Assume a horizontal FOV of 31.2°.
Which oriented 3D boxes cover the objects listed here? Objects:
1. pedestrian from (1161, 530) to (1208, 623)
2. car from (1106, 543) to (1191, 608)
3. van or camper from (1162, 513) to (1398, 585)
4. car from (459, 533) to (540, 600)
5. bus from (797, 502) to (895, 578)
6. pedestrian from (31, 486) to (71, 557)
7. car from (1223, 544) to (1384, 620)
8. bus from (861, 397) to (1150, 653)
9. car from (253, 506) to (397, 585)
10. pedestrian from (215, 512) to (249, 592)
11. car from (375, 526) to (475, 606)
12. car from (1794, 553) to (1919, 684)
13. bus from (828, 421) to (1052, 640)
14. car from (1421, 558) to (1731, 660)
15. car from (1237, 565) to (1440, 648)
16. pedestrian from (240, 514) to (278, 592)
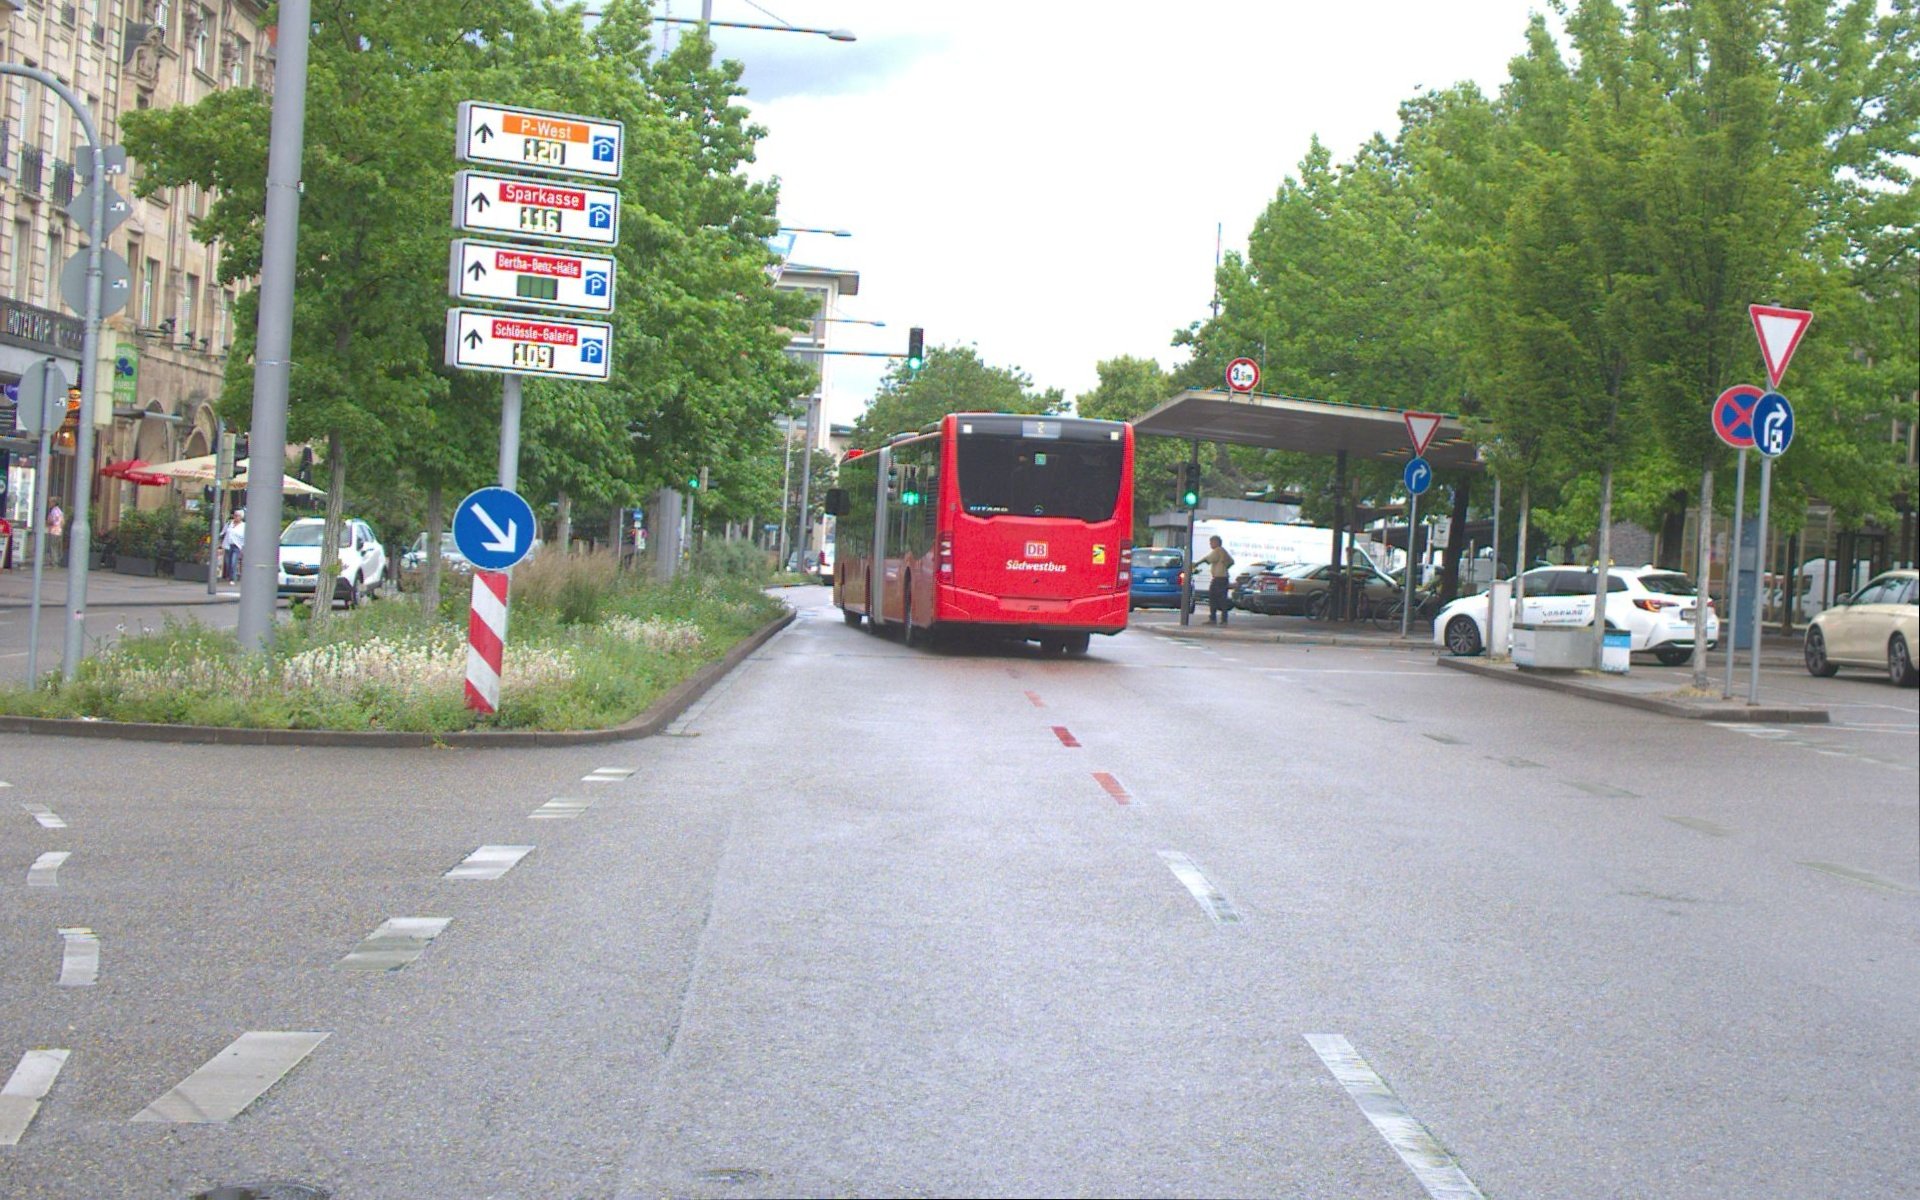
[{"bbox_3d":[4.354,-0.462,66.669,0.717,1.785,0.666,1,1,-12],"label":"pedestrian"},{"bbox_3d":[4.655,-0.630,85.402,1.816,1.525,4.000,1,1,-1],"label":"car"},{"bbox_3d":[9.597,-1.505,102.833,6.753,2.007,2.385,1,0,-26],"label":"van or camper"},{"bbox_3d":[-12.822,-0.939,95.875,1.993,1.785,4.001,1,1,-5],"label":"car"},{"bbox_3d":[-5.299,-2.725,156.568,3.760,3.198,15.528,1,1,-4],"label":"bus"},{"bbox_3d":[-19.731,-1.705,74.619,0.661,1.505,0.519,1,1,-38],"label":"pedestrian"},{"bbox_3d":[9.642,-0.504,96.653,3.986,2.007,2.001,1,1,-20],"label":"car"},{"bbox_3d":[0.469,-1.016,47.405,2.742,3.163,8.123,1,1,-8],"label":"bus"},{"bbox_3d":[-11.728,-1.034,63.693,1.755,1.364,4.060,2,2,2],"label":"car"},{"bbox_3d":[-16.027,-1.054,75.679,0.575,1.726,0.609,2,1,-1],"label":"pedestrian"},{"bbox_3d":[-12.287,-0.803,79.169,1.993,1.752,4.001,1,1,-5],"label":"car"},{"bbox_3d":[12.610,0.228,44.303,1.993,1.594,4.824,1,1,-7],"label":"car"},{"bbox_3d":[-0.492,-1.105,55.515,2.742,3.163,10.197,1,1,-5],"label":"bus"},{"bbox_3d":[9.103,0.105,51.070,1.774,1.380,4.366,0,1,-41],"label":"car"},{"bbox_3d":[9.058,0.147,82.283,4.335,1.851,2.001,1,1,-20],"label":"car"},{"bbox_3d":[-15.433,-1.028,75.694,0.674,1.696,0.634,2,1,-1],"label":"pedestrian"}]
